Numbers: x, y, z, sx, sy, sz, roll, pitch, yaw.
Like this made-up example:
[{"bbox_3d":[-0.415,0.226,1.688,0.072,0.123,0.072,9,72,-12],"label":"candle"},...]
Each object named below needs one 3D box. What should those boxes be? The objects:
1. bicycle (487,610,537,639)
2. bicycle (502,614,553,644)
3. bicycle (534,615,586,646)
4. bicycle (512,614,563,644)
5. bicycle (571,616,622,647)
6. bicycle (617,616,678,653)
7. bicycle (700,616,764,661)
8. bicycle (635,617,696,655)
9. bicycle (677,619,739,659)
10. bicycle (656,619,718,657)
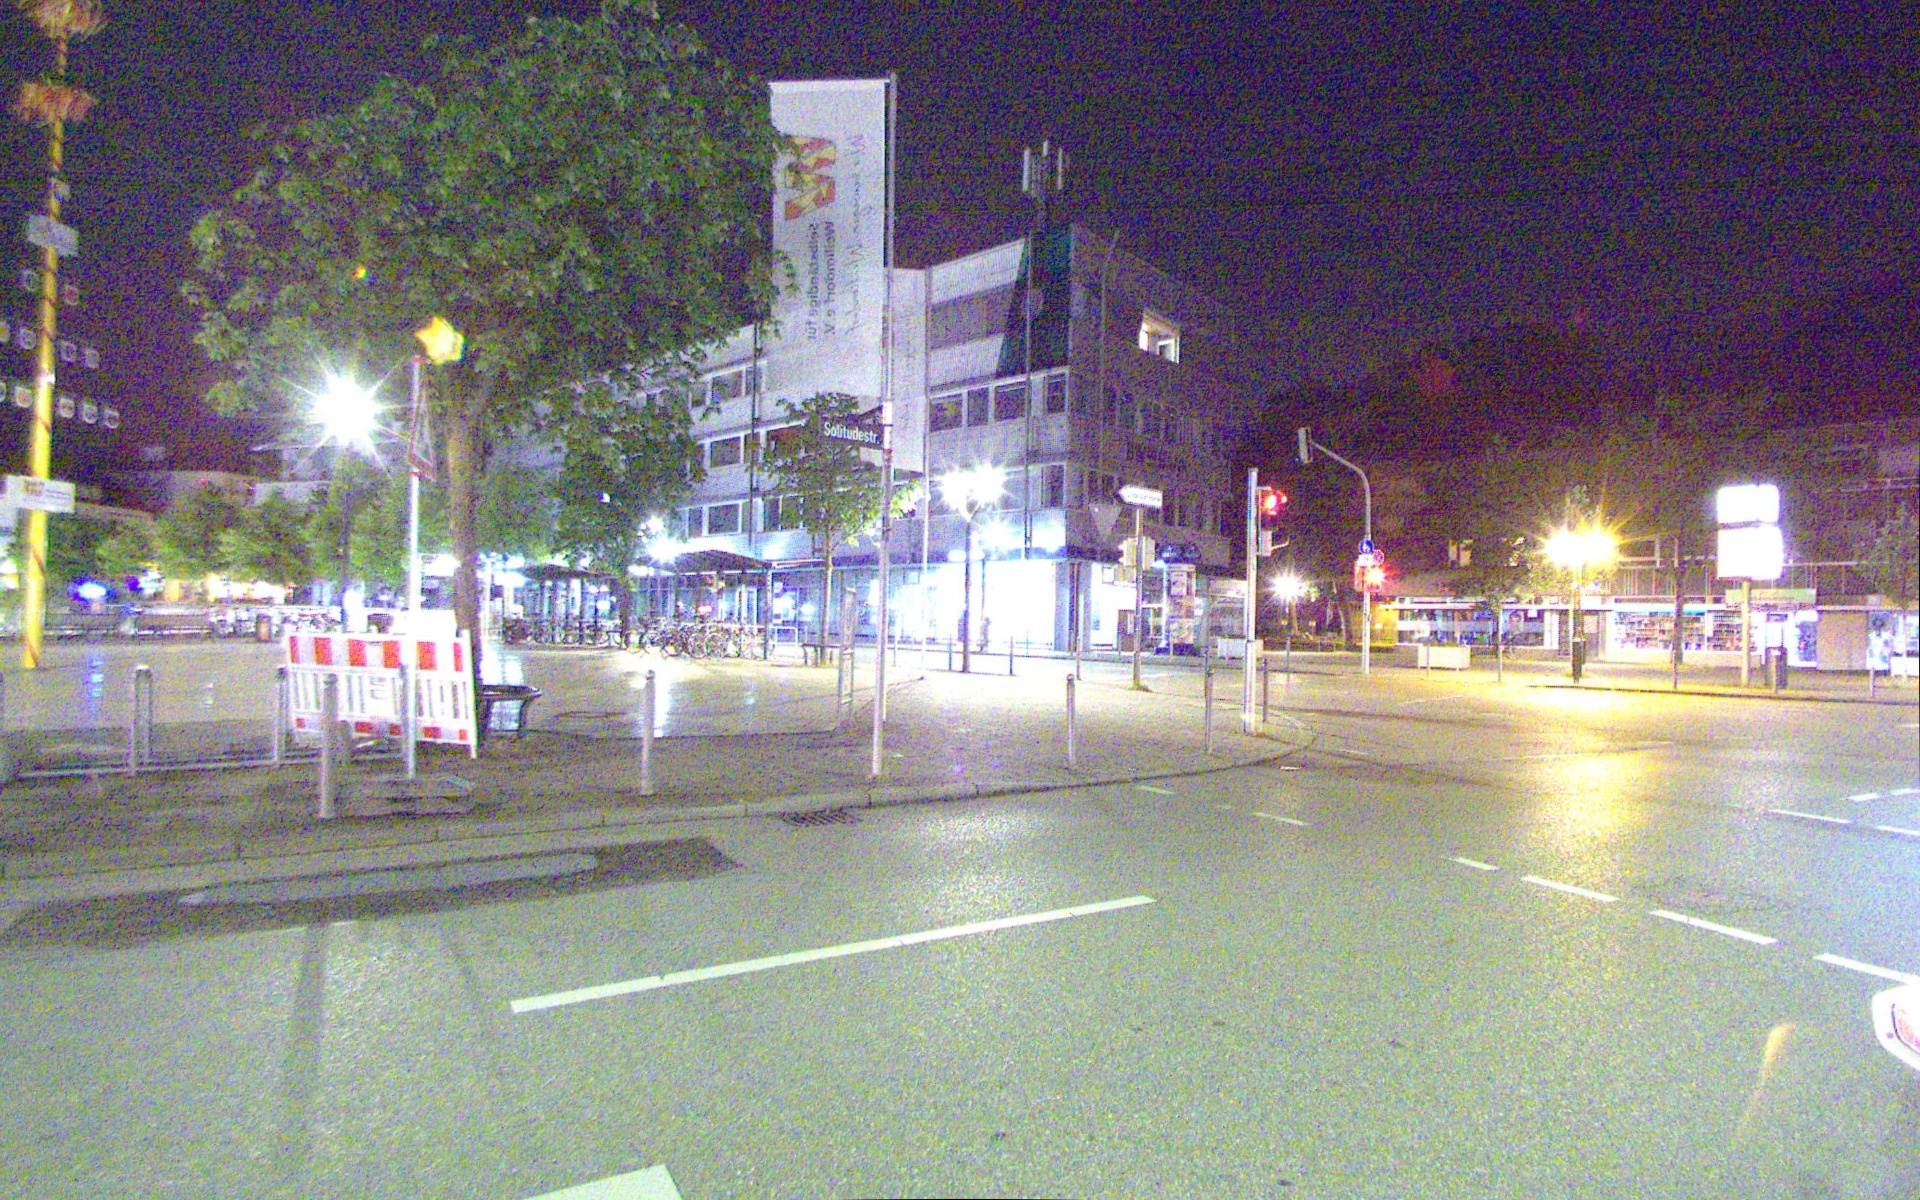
[{"bbox_3d":[-15.546,0.860,34.884,0.473,0.970,1.525,2,0,44],"label":"bicycle"},{"bbox_3d":[-14.777,0.996,34.354,0.473,0.970,1.525,2,0,44],"label":"bicycle"},{"bbox_3d":[-13.170,0.999,33.075,0.473,0.970,1.525,2,0,44],"label":"bicycle"},{"bbox_3d":[-14.180,0.986,33.739,0.473,0.970,1.525,2,0,44],"label":"bicycle"},{"bbox_3d":[-11.975,1.035,33.095,0.473,0.970,1.525,2,0,44],"label":"bicycle"},{"bbox_3d":[-8.526,0.940,27.425,0.473,0.970,1.525,2,0,44],"label":"bicycle"},{"bbox_3d":[-5.646,0.947,24.926,0.440,1.068,1.525,2,0,43],"label":"bicycle"},{"bbox_3d":[-7.846,0.958,26.824,0.473,0.970,1.525,2,0,44],"label":"bicycle"},{"bbox_3d":[-6.401,0.986,25.551,0.440,0.970,1.525,2,0,43],"label":"bicycle"},{"bbox_3d":[-7.102,0.983,26.143,0.473,0.970,1.525,2,0,44],"label":"bicycle"}]
